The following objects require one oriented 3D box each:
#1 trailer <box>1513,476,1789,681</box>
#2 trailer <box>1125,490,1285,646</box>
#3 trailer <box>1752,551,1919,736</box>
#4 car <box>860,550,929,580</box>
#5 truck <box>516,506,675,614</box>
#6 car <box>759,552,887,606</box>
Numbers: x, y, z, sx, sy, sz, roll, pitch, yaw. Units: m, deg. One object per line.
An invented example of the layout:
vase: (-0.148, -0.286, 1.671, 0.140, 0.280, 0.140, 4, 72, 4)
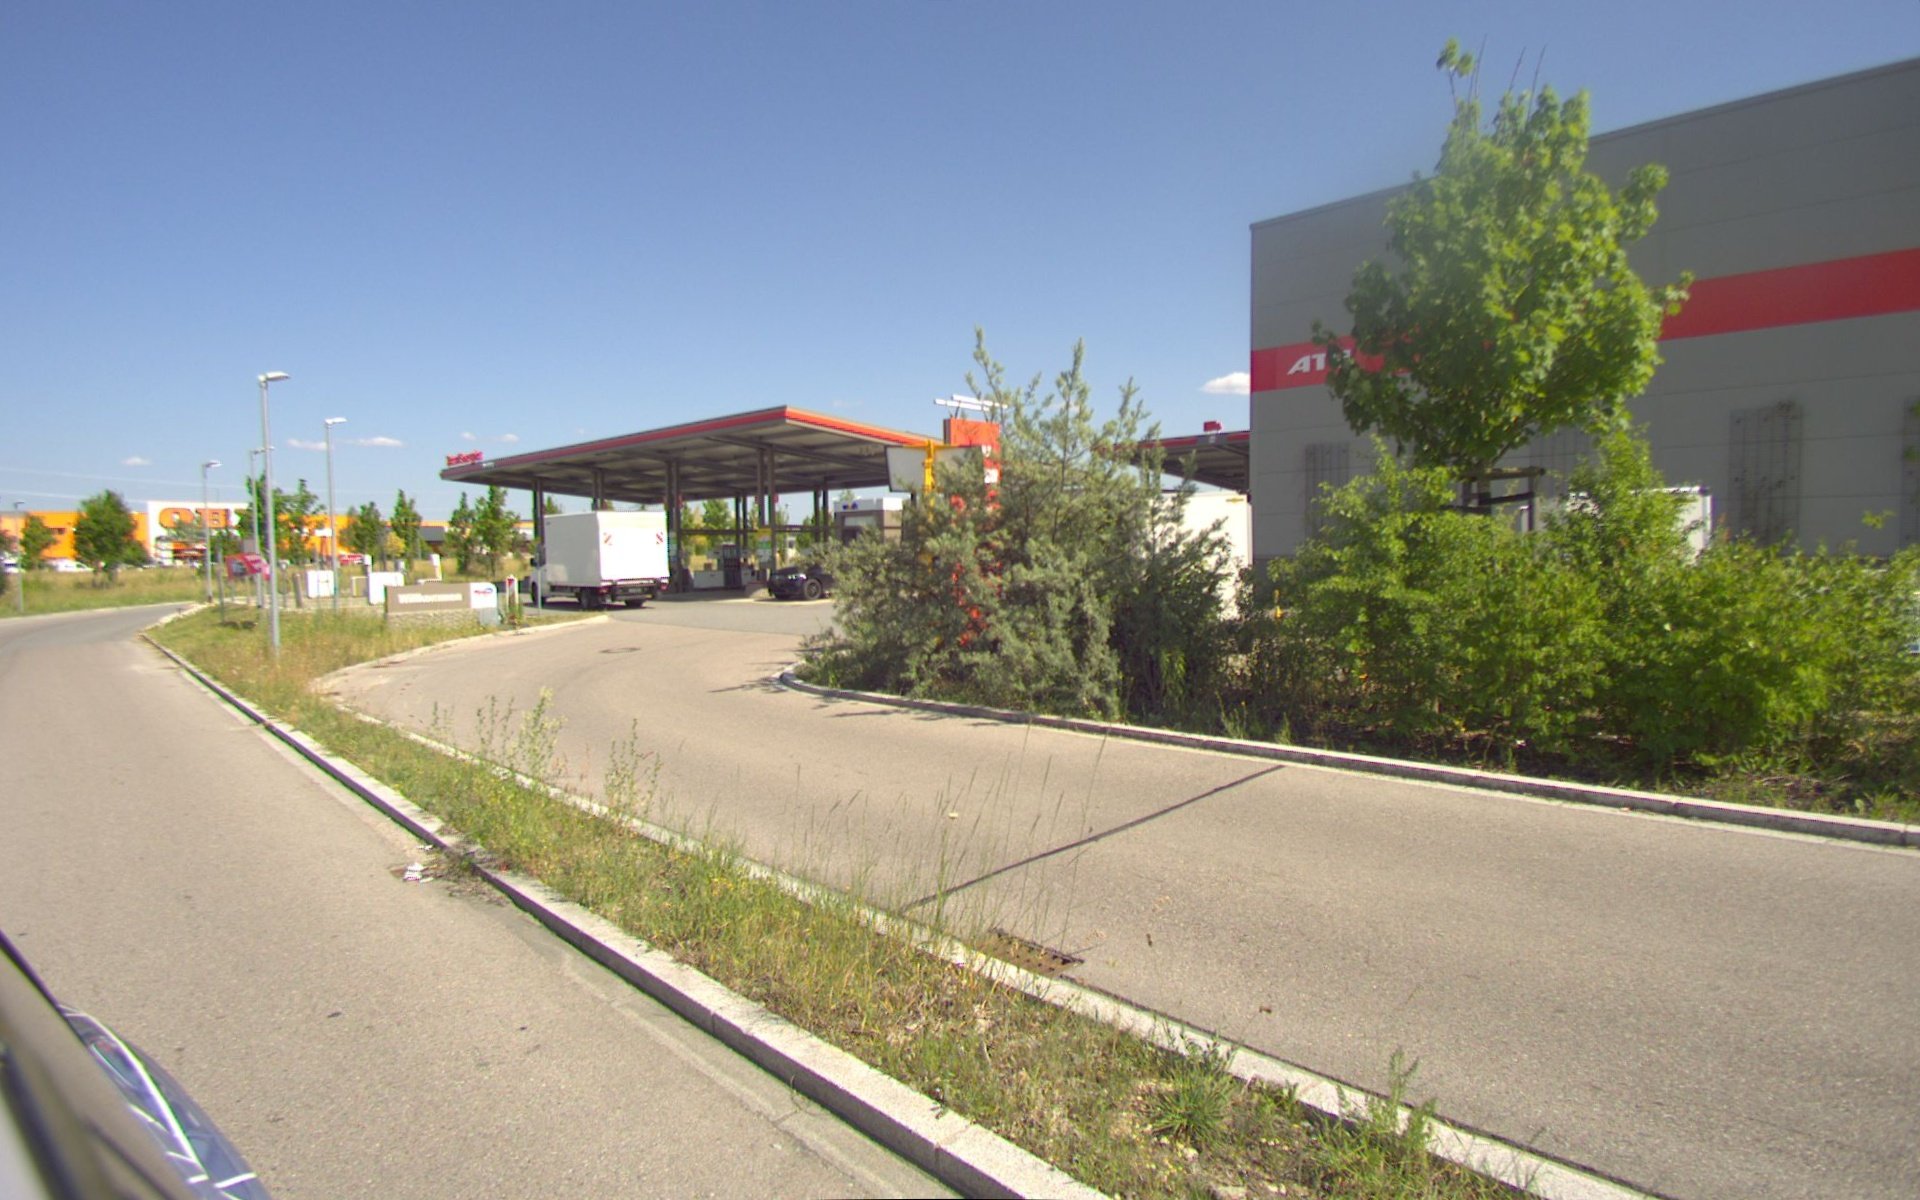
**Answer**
trailer: (7.715, -0.254, 11.625, 1.985, 2.028, 2.719, -1, 2, 21)
trailer: (3.534, -0.478, 15.138, 1.977, 2.028, 3.199, -2, 2, 9)
trailer: (9.610, 0.306, 10.136, 1.588, 1.521, 3.576, -2, 2, 20)
car: (-3.827, -2.049, 58.986, 3.626, 1.586, 1.700, -4, 3, -36)
truck: (-12.656, -1.317, 34.776, 2.602, 3.342, 6.914, -4, 3, -42)
car: (-4.936, -0.780, 36.882, 1.796, 1.771, 4.458, 0, 3, 43)
